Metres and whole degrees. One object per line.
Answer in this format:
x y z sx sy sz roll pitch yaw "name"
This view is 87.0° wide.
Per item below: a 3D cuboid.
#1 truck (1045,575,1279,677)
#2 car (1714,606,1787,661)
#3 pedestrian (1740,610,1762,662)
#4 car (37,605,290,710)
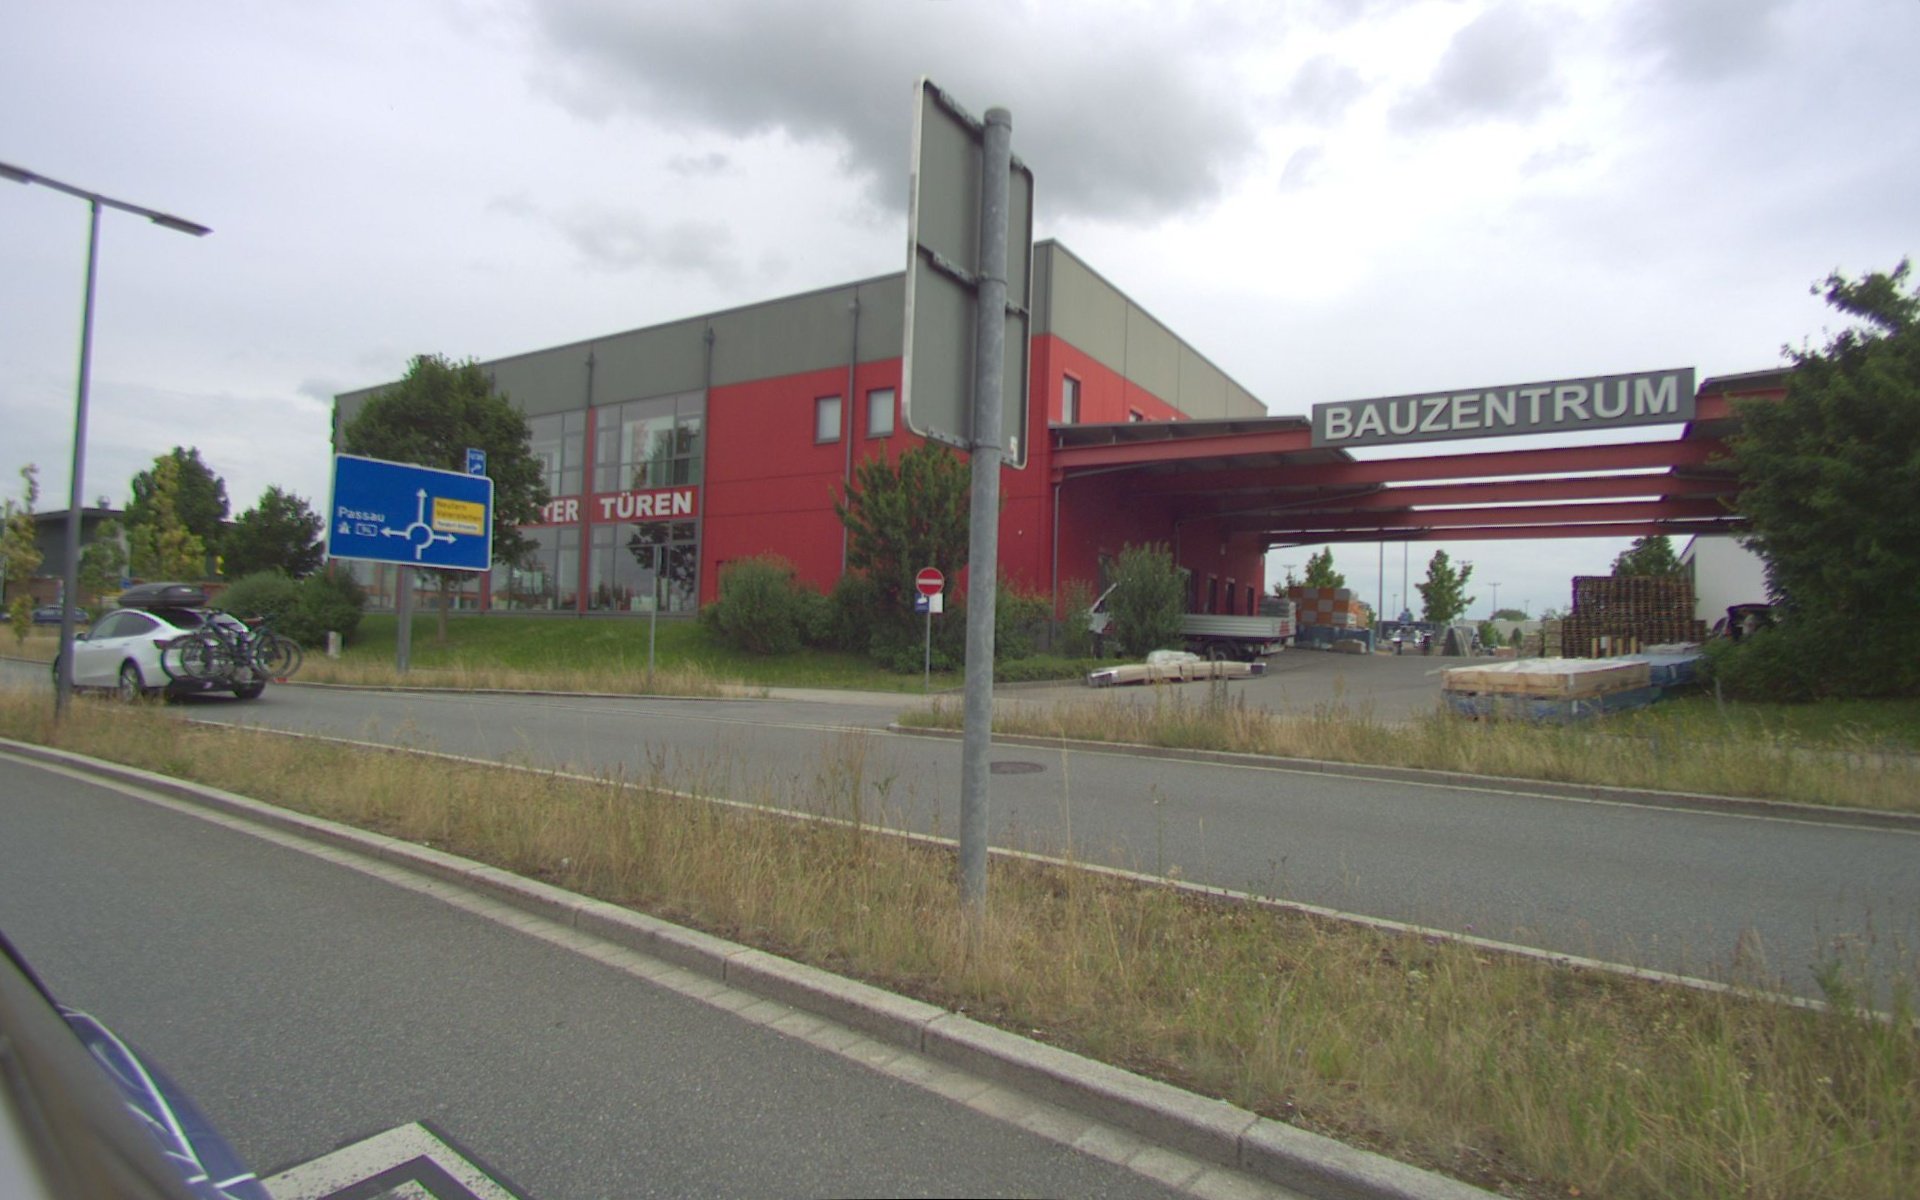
5.377 0.686 27.336 5.889 2.506 2.017 0 -2 33 "truck"
28.679 1.210 36.811 1.806 1.862 3.954 0 -2 34 "car"
27.172 1.233 34.759 0.562 1.767 0.476 -1 -2 35 "pedestrian"
-14.192 0.957 17.978 4.617 1.638 1.896 -1 0 29 "car"
